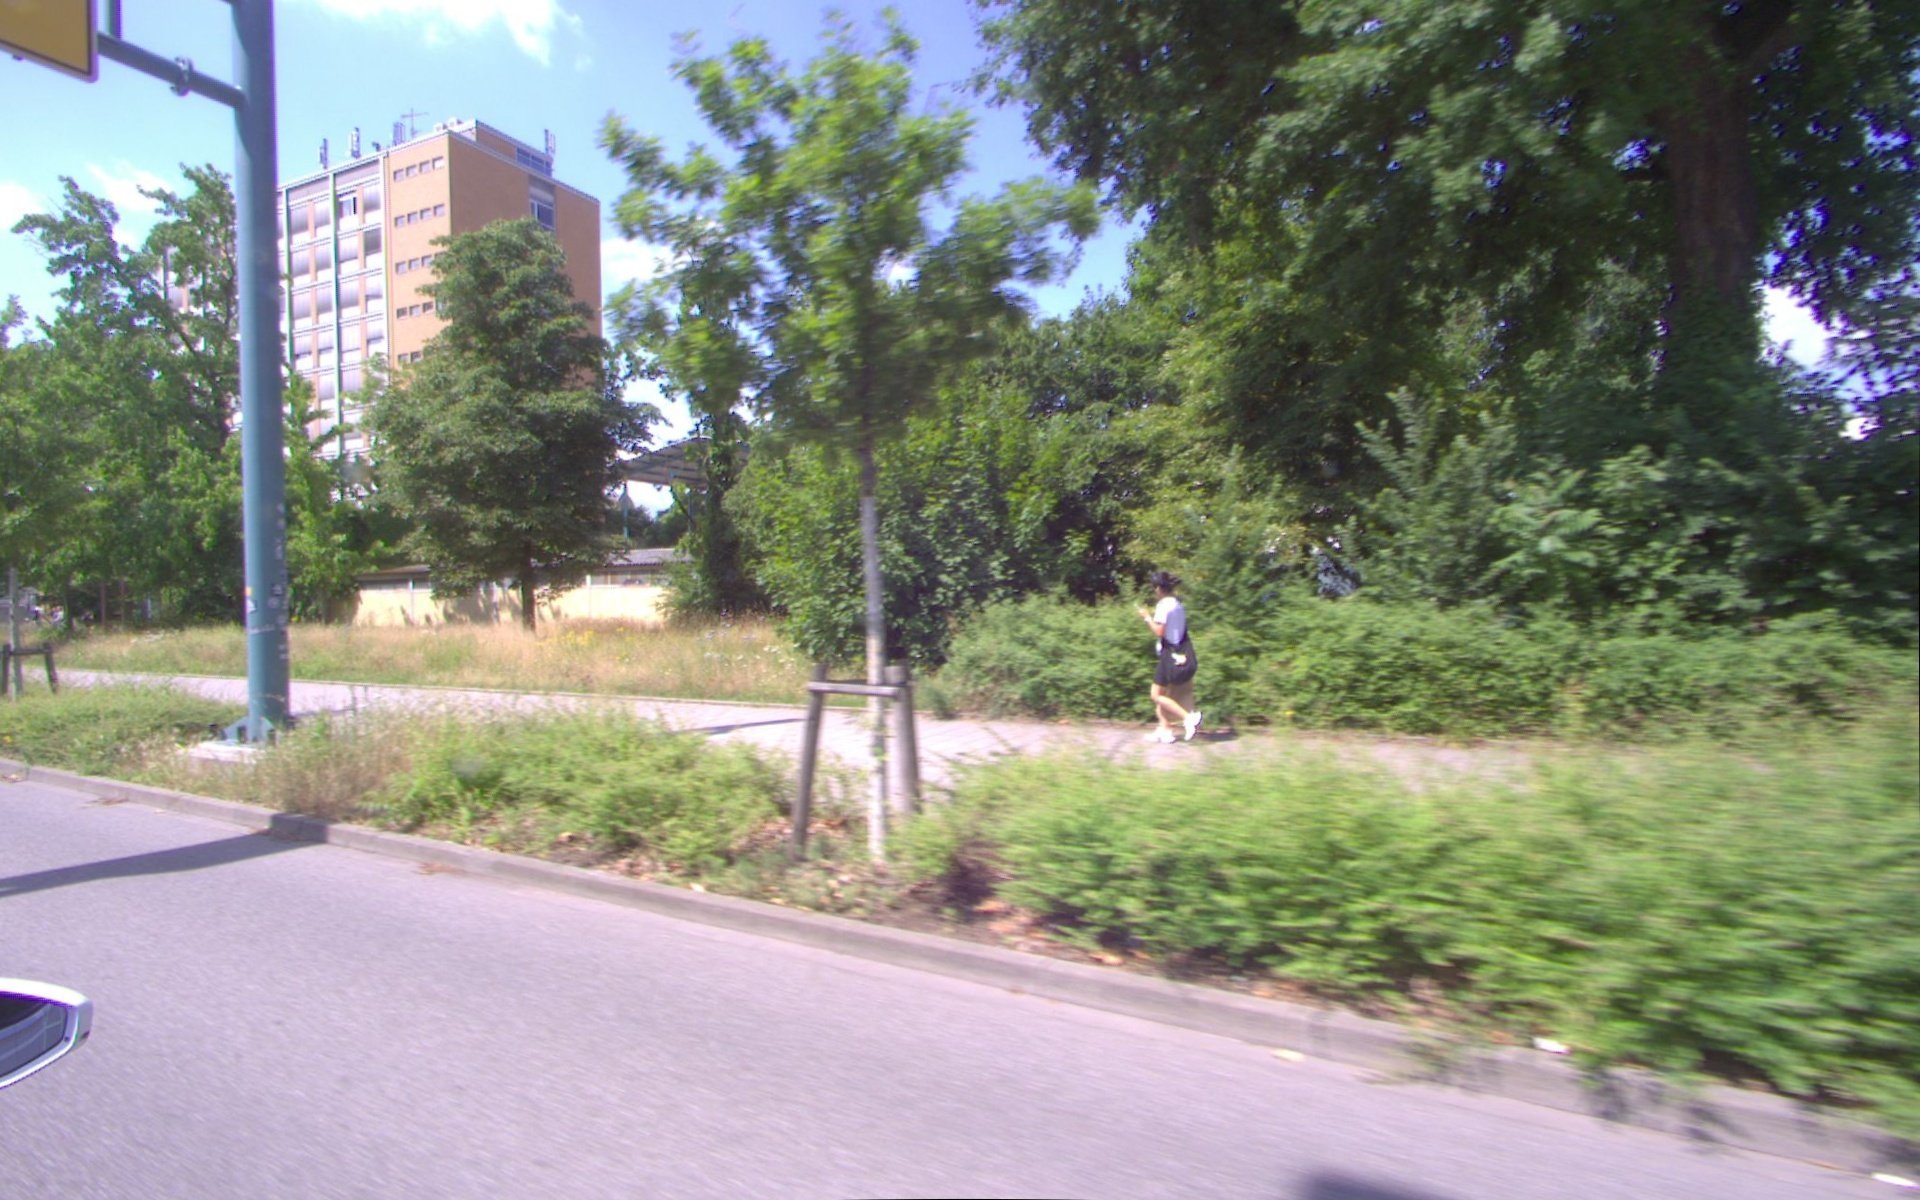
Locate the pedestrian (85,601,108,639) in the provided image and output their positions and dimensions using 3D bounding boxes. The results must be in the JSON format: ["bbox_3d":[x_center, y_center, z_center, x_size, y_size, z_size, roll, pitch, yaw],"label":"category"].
[{"bbox_3d":[-47.590,1.098,55.191,0.835,2.085,0.736,0,1,-31],"label":"pedestrian"}]

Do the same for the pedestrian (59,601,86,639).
[{"bbox_3d":[-48.911,1.117,55.199,0.832,2.085,0.740,0,1,15],"label":"pedestrian"}]

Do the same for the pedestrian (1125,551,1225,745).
[{"bbox_3d":[2.052,0.441,9.529,0.736,1.744,0.721,0,0,32],"label":"pedestrian"}]

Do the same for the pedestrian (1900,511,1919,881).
[{"bbox_3d":[4.859,0.448,4.480,0.825,1.744,0.715,0,0,32],"label":"pedestrian"}]
